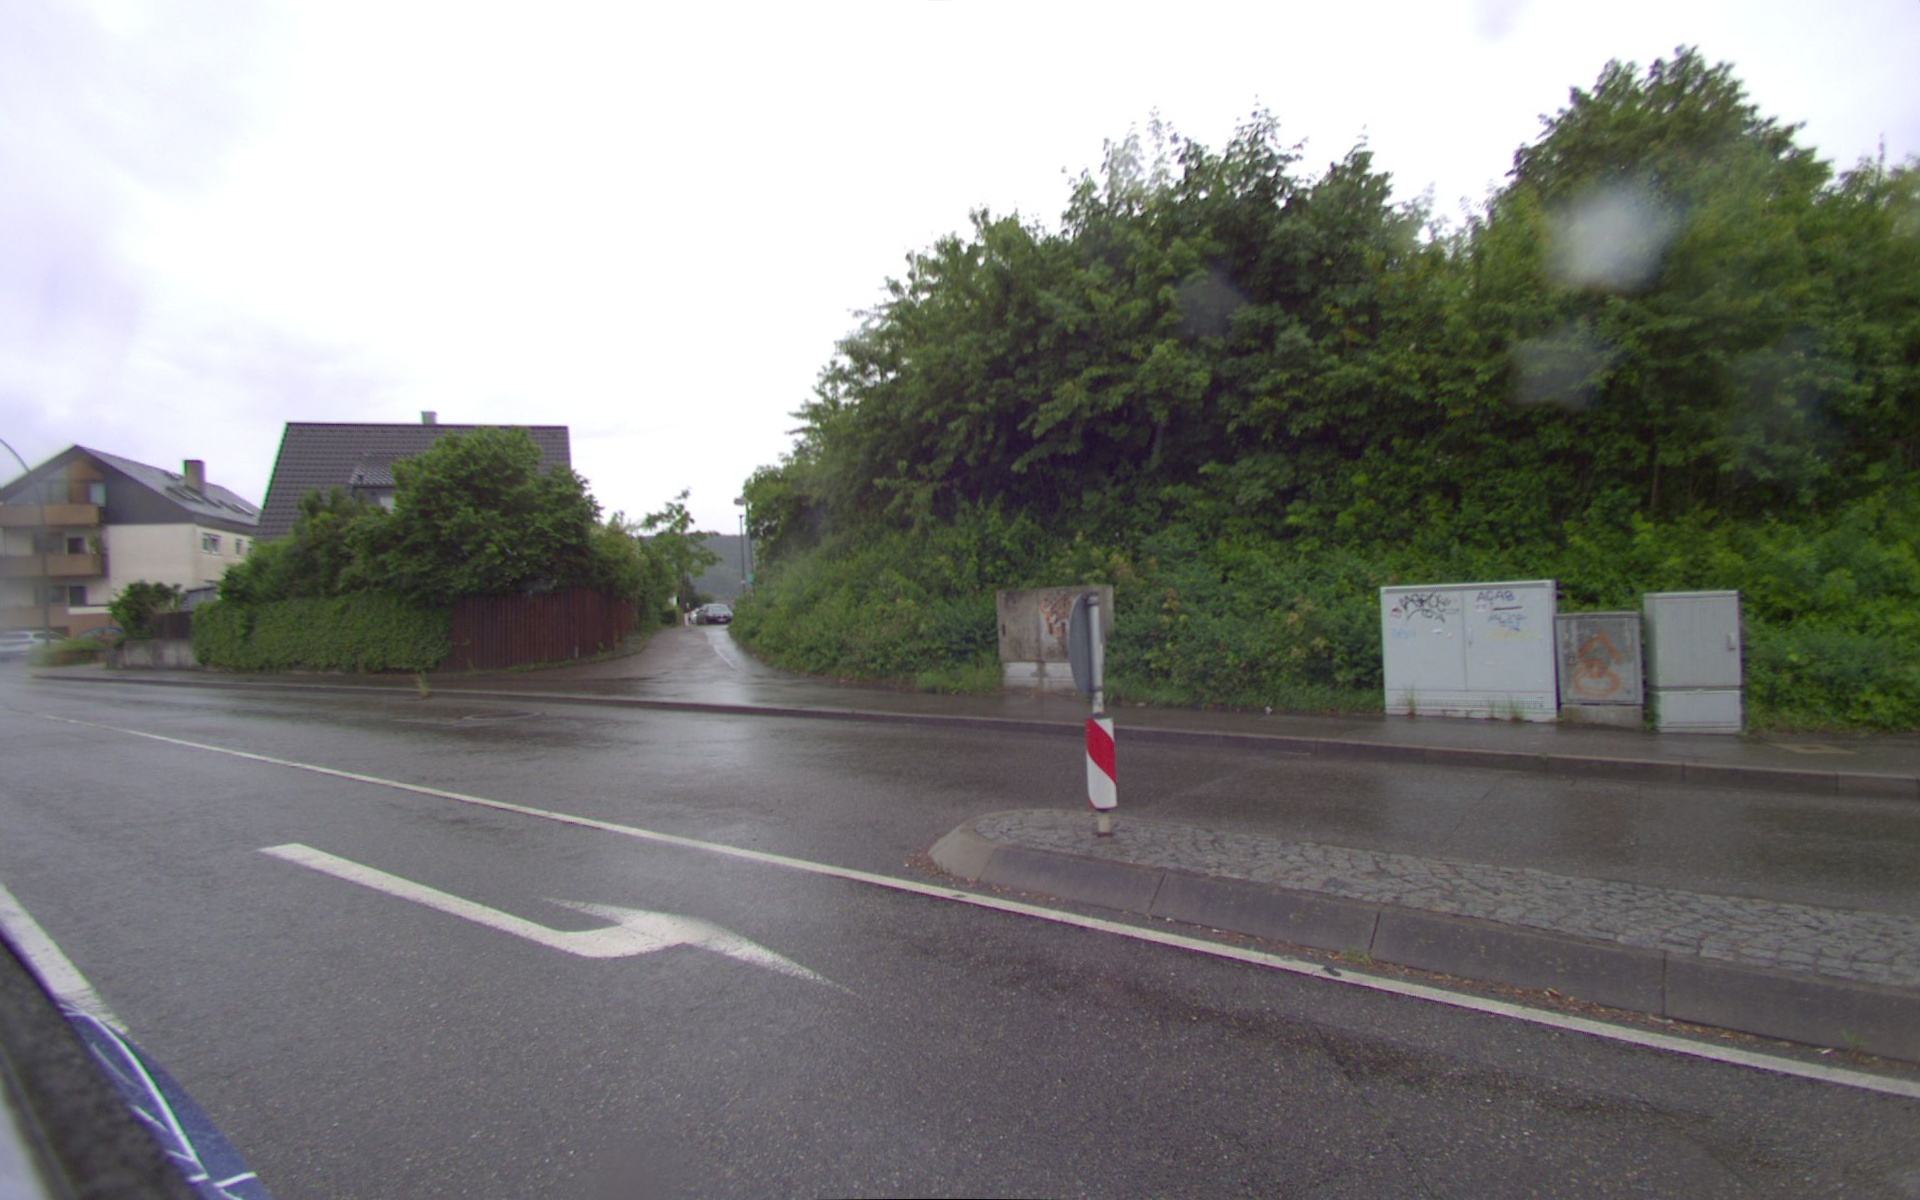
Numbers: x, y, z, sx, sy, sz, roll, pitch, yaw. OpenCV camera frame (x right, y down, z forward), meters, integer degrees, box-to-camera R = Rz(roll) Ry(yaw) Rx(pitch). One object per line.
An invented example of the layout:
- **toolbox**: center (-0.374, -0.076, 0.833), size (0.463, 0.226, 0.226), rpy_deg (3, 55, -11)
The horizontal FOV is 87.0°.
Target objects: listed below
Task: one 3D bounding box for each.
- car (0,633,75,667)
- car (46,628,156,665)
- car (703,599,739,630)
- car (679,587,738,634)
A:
- **car**: center (-46.772, 2.489, 50.949), size (1.837, 1.530, 4.012), rpy_deg (-2, 0, -18)
- **car**: center (-41.122, 2.202, 48.533), size (3.609, 1.530, 1.759), rpy_deg (-2, 0, -15)
- **car**: center (-15.579, 0.928, 66.165), size (1.968, 1.873, 4.008), rpy_deg (-2, 0, -9)
- **car**: center (-9.162, 0.368, 37.044), size (1.683, 1.600, 3.668), rpy_deg (-1, 0, -8)
